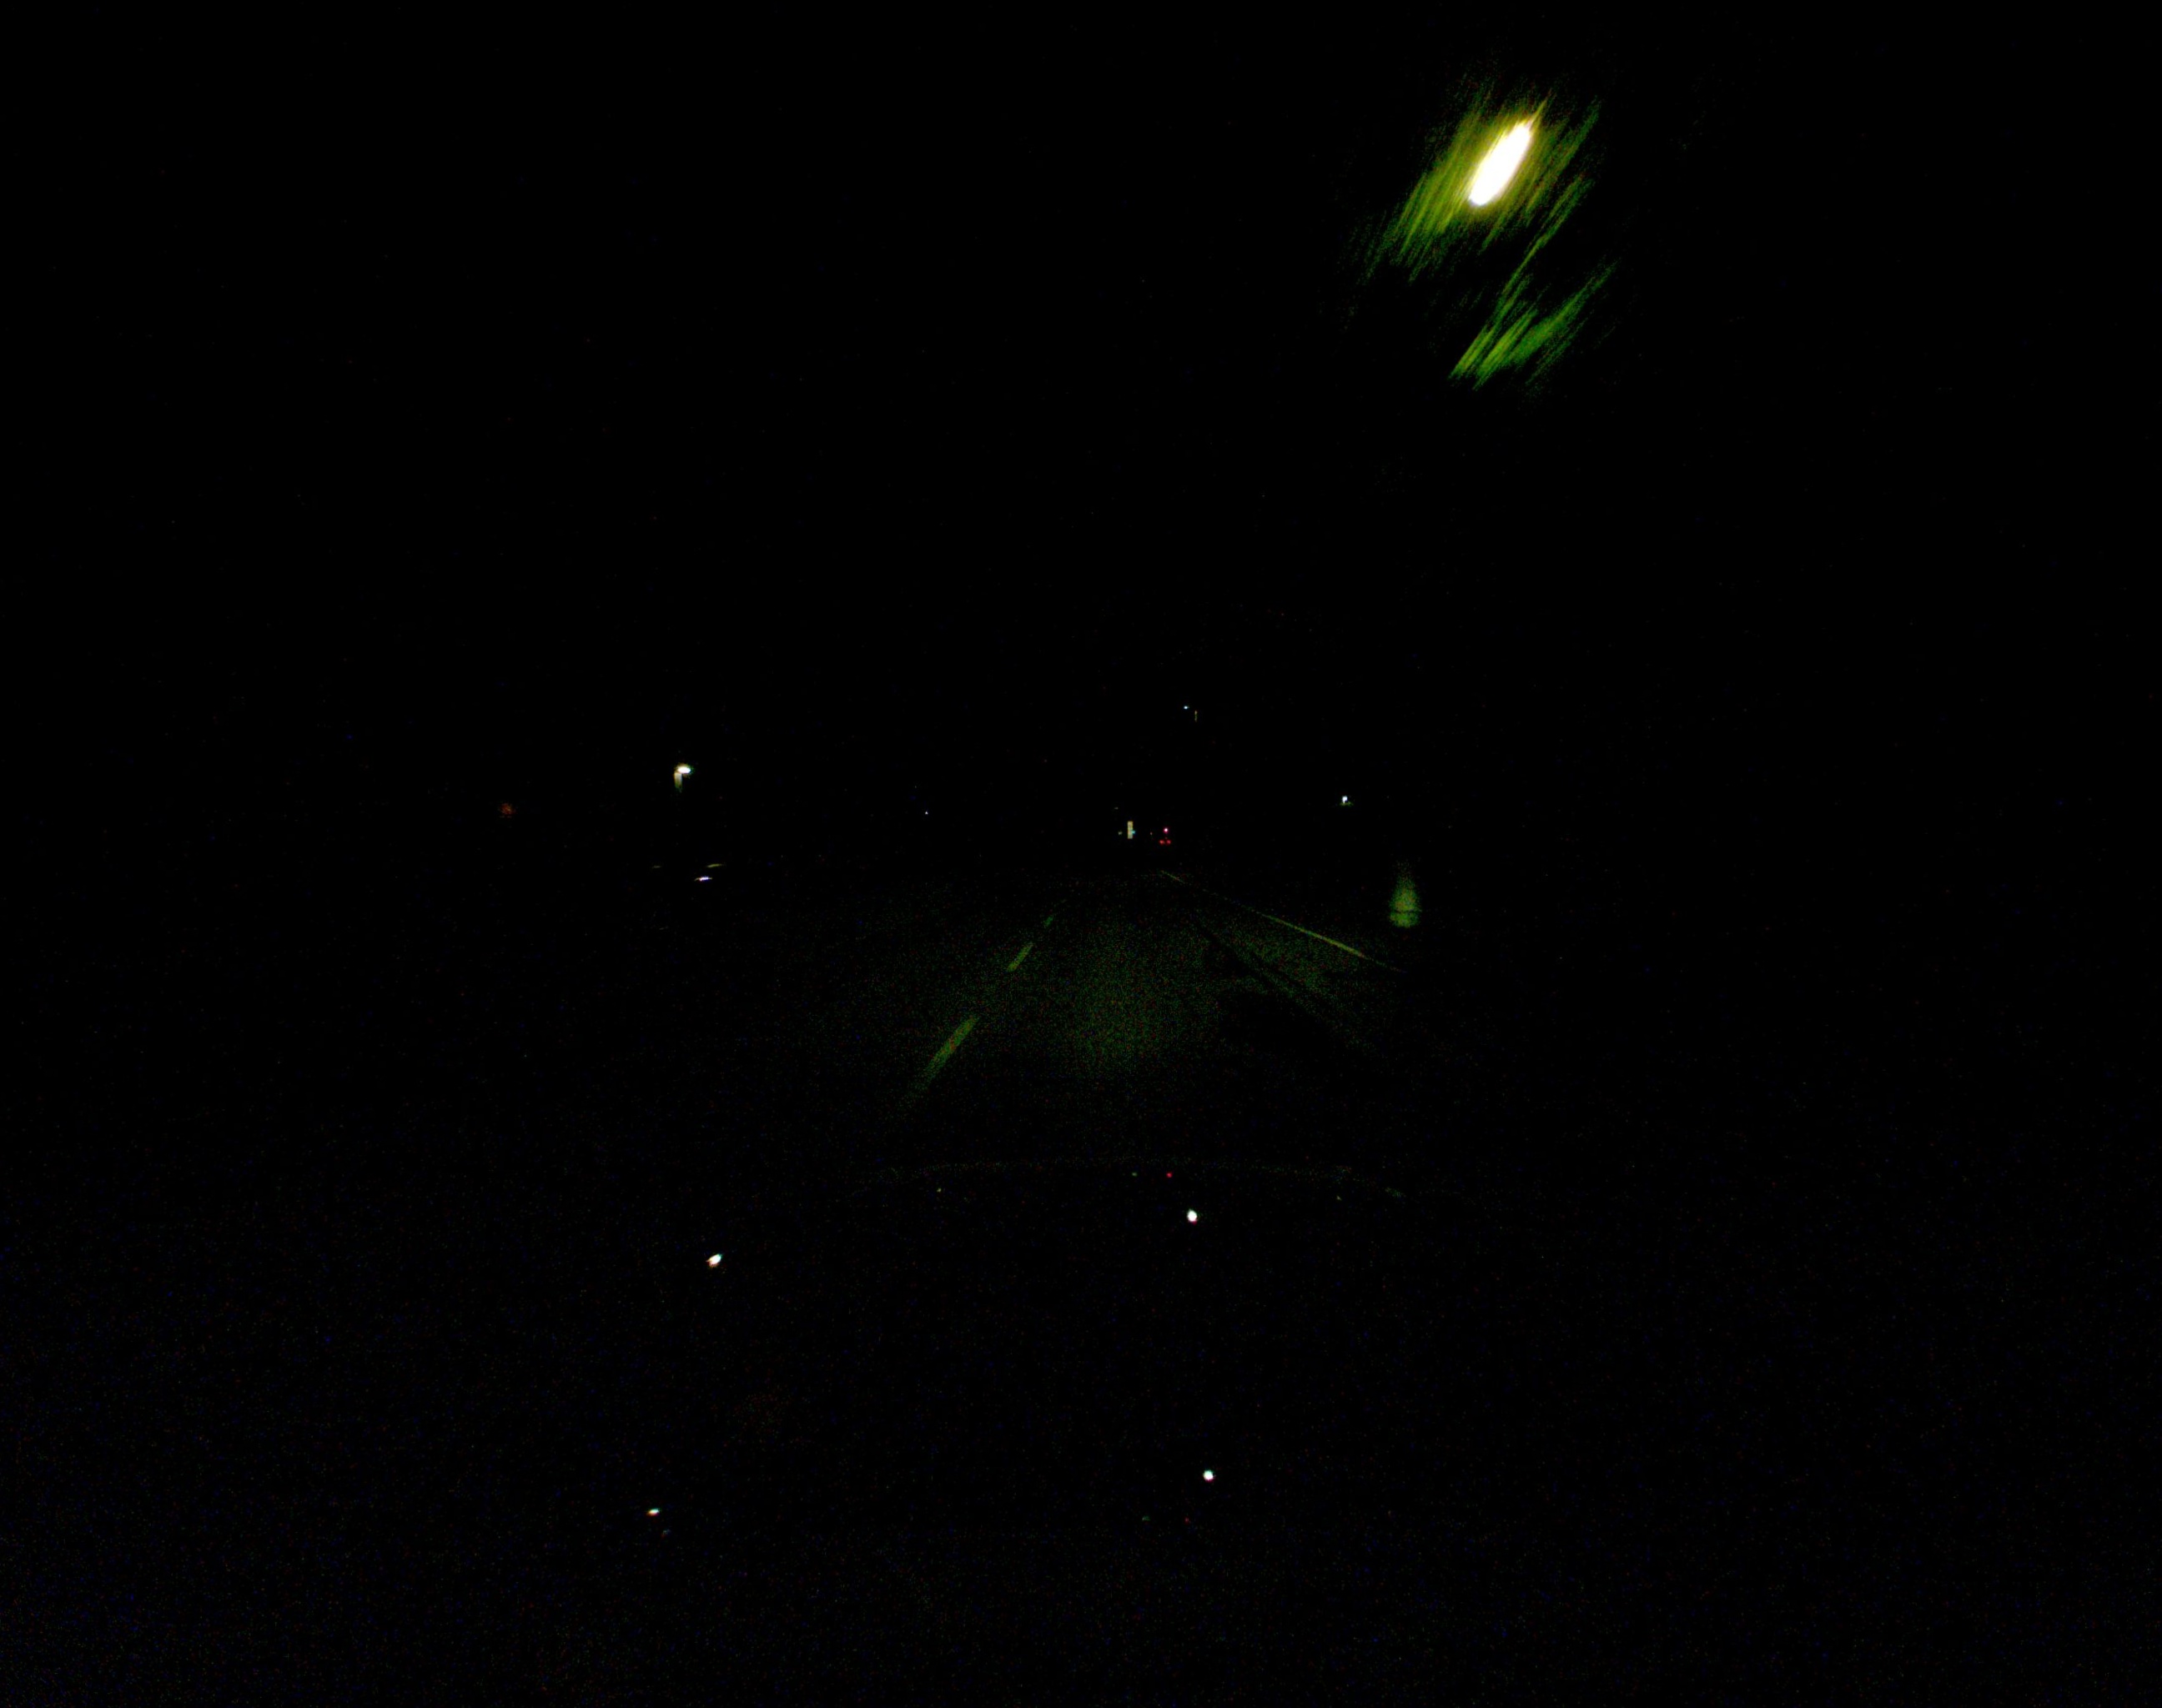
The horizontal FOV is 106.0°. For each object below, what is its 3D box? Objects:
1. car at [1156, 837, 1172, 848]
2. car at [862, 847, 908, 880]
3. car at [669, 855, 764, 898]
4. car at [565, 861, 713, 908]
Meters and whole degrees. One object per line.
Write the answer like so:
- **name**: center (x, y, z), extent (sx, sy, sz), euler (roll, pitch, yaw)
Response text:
- **car**: center (14.156, -2.006, 138.966), extent (2.147, 1.582, 4.027), euler (-4, 0, 11)
- **car**: center (-13.917, 0.646, 58.089), extent (2.085, 2.013, 4.000), euler (-6, 0, 1)
- **car**: center (-14.793, 0.877, 33.322), extent (1.987, 1.530, 4.000), euler (-2, 0, 1)
- **car**: center (-14.786, 0.956, 27.704), extent (1.987, 1.338, 5.432), euler (-2, 0, 1)
